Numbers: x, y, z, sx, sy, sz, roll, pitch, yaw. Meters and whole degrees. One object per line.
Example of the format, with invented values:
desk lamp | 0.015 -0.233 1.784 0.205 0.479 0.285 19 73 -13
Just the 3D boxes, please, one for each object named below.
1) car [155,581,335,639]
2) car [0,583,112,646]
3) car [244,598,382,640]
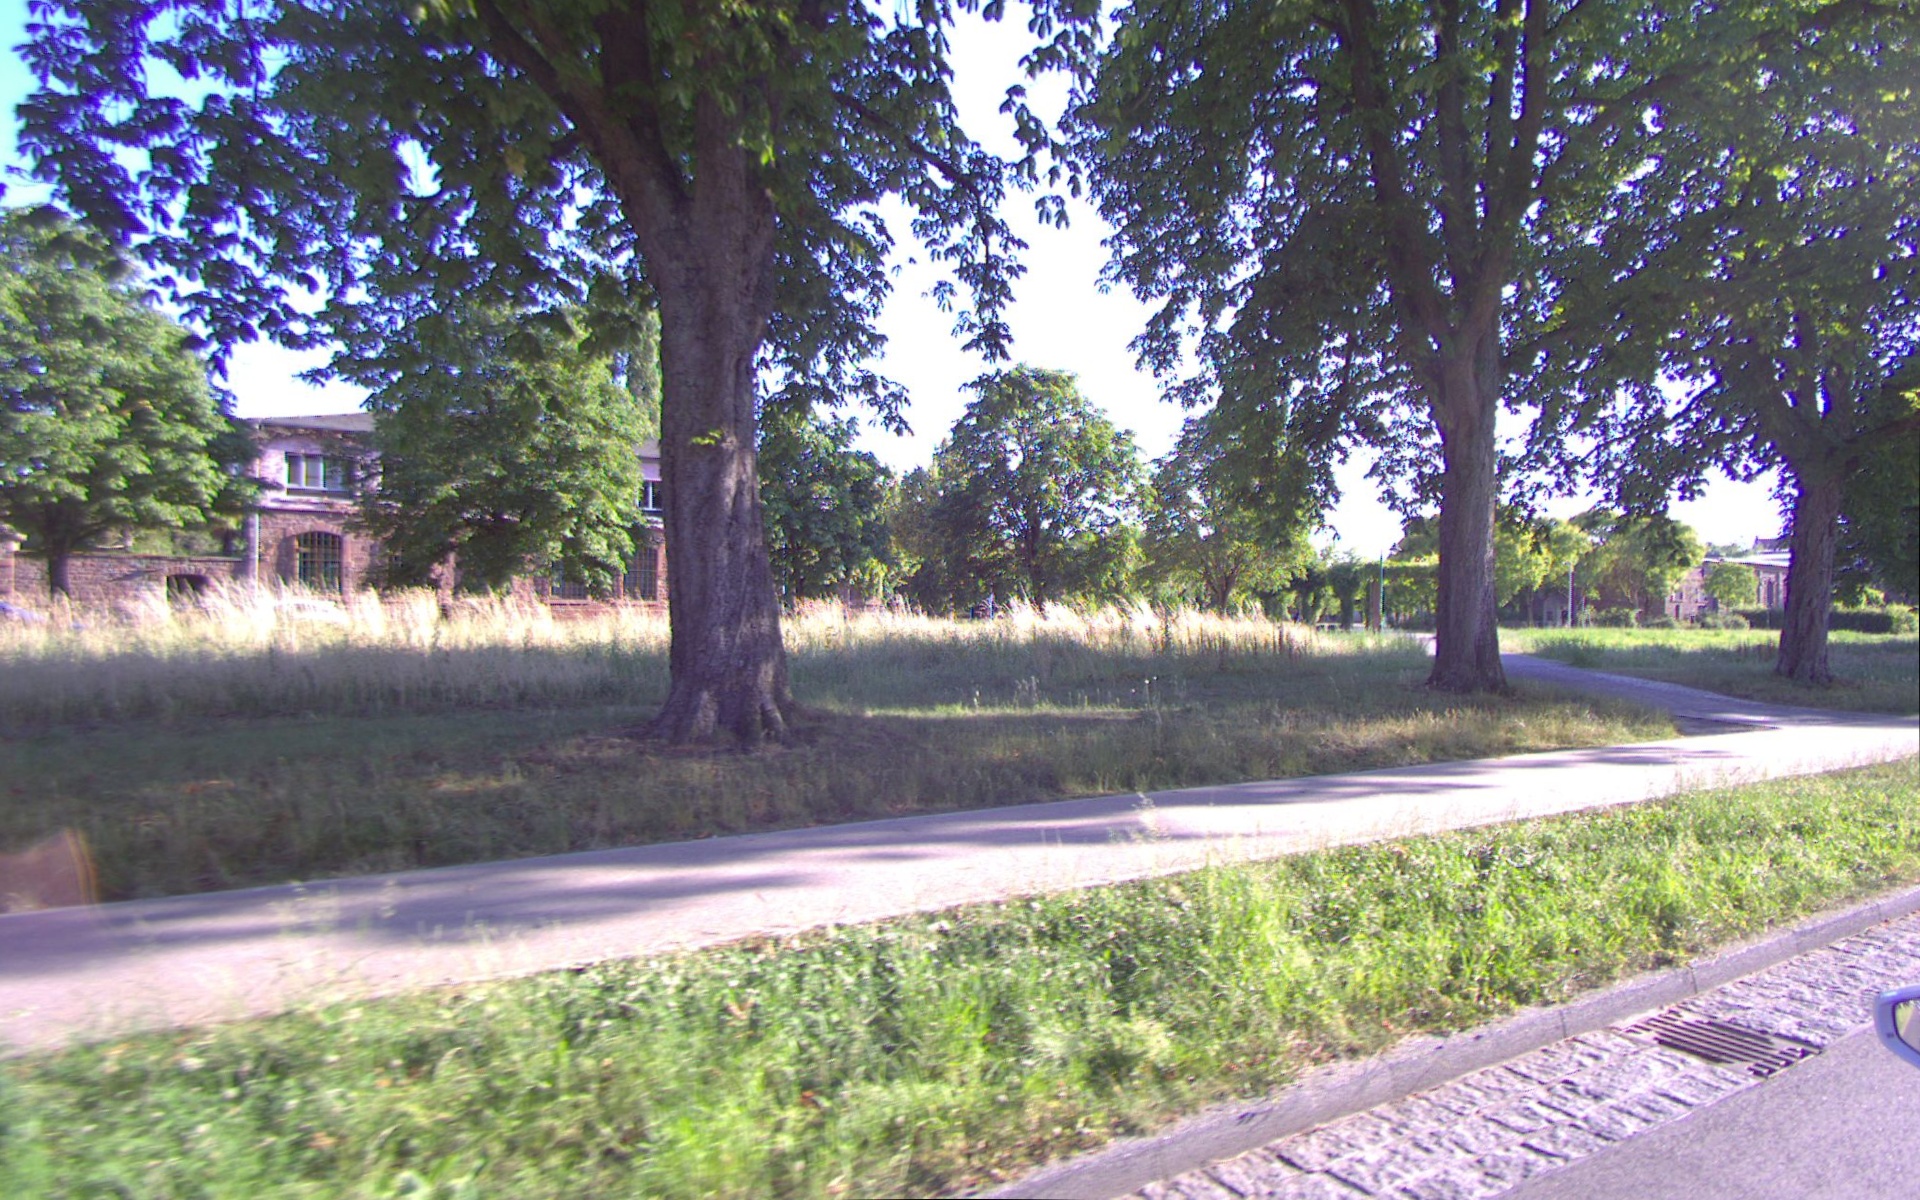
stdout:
car | -20.911 0.312 29.611 4.173 1.619 1.684 1 0 -31
car | -25.545 0.369 26.813 4.173 1.619 1.684 1 0 -31
car | -22.557 0.663 35.199 3.953 1.424 1.621 1 0 -31
